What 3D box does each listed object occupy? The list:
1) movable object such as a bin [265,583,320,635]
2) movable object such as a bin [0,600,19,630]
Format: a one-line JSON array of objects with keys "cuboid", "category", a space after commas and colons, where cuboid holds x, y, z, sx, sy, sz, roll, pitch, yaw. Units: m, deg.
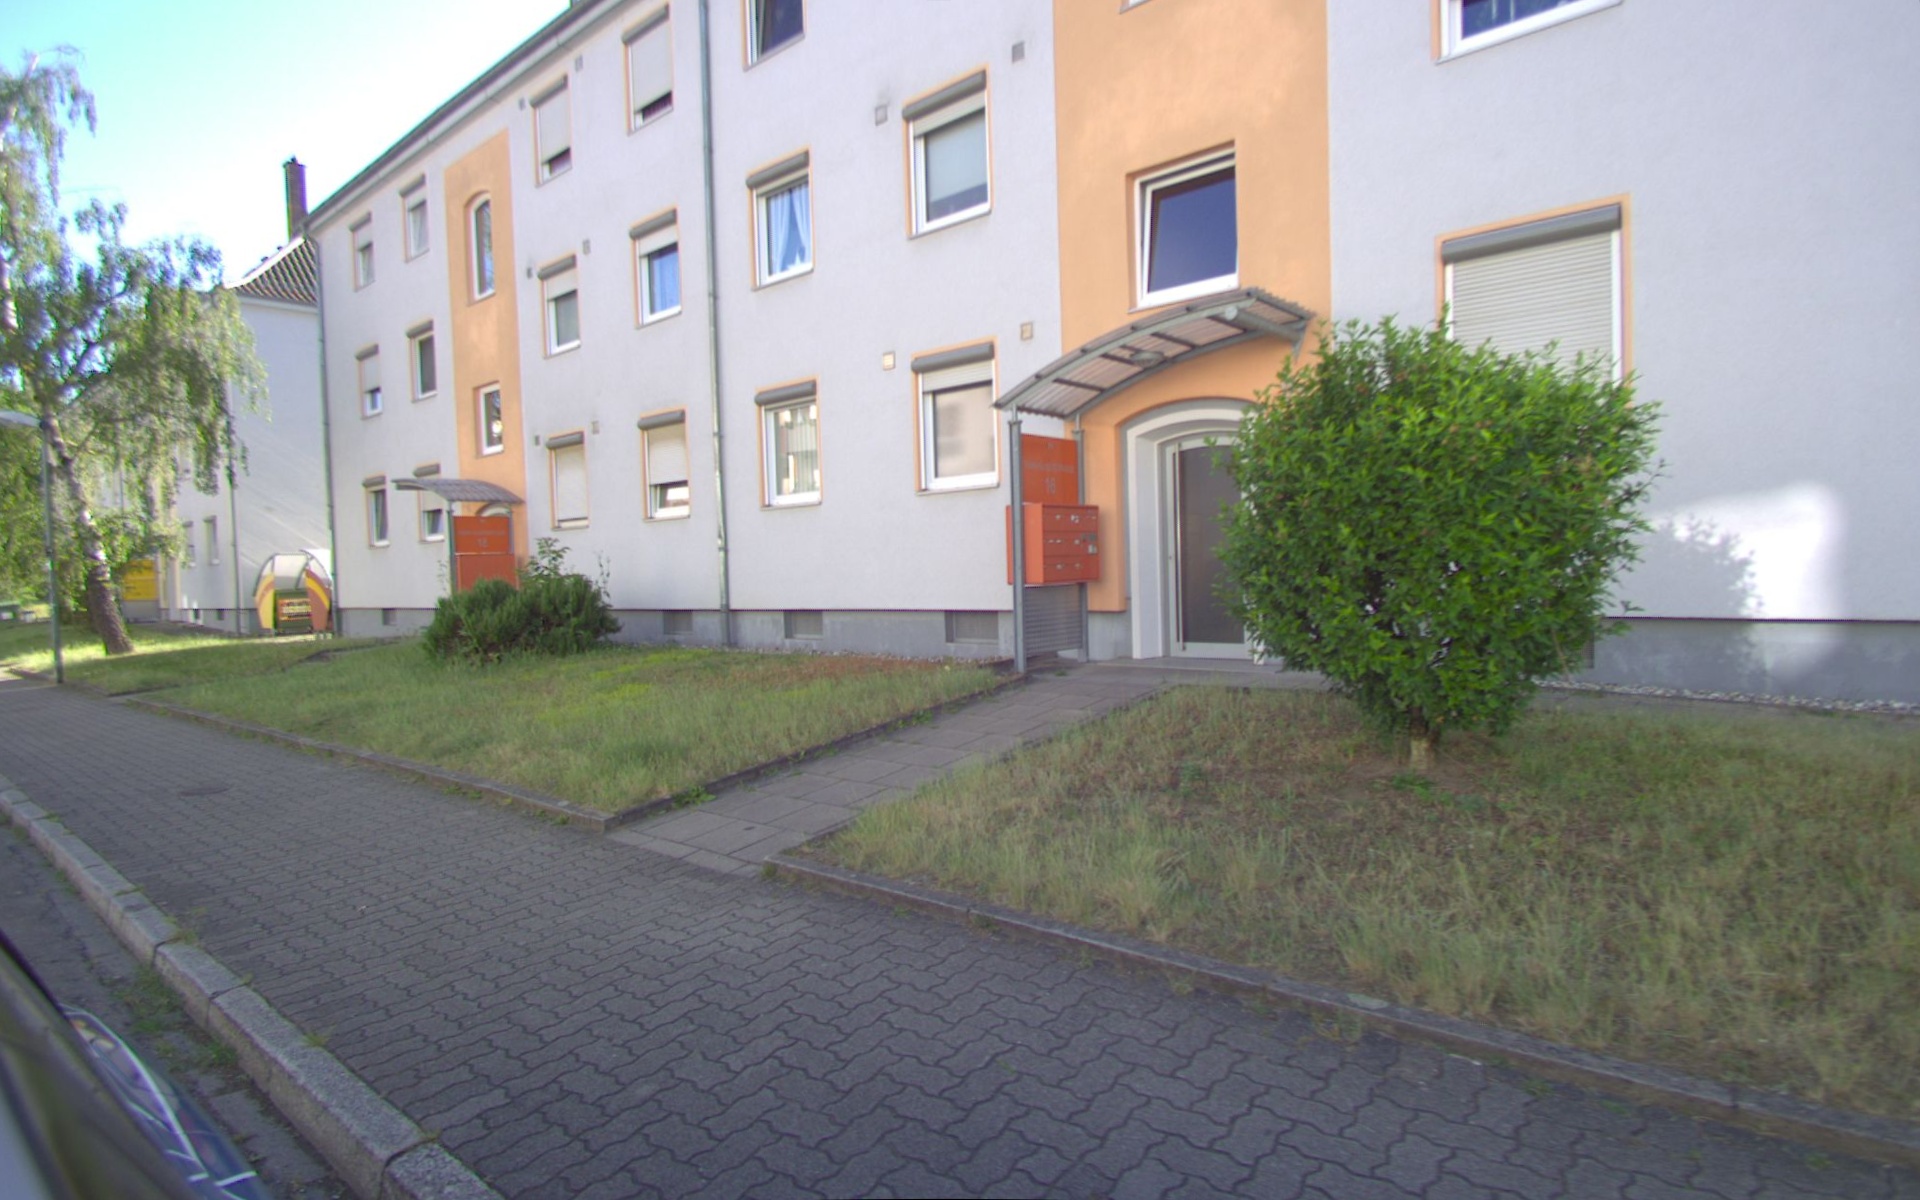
[{"cuboid": [-19.203, 0.252, 29.126, 0.812, 1.416, 1.073, -1, 3, 41], "category": "movable object such as a bin"}, {"cuboid": [-49.512, 0.790, 52.045, 1.072, 1.463, 1.347, -1, 6, 41], "category": "movable object such as a bin"}]
